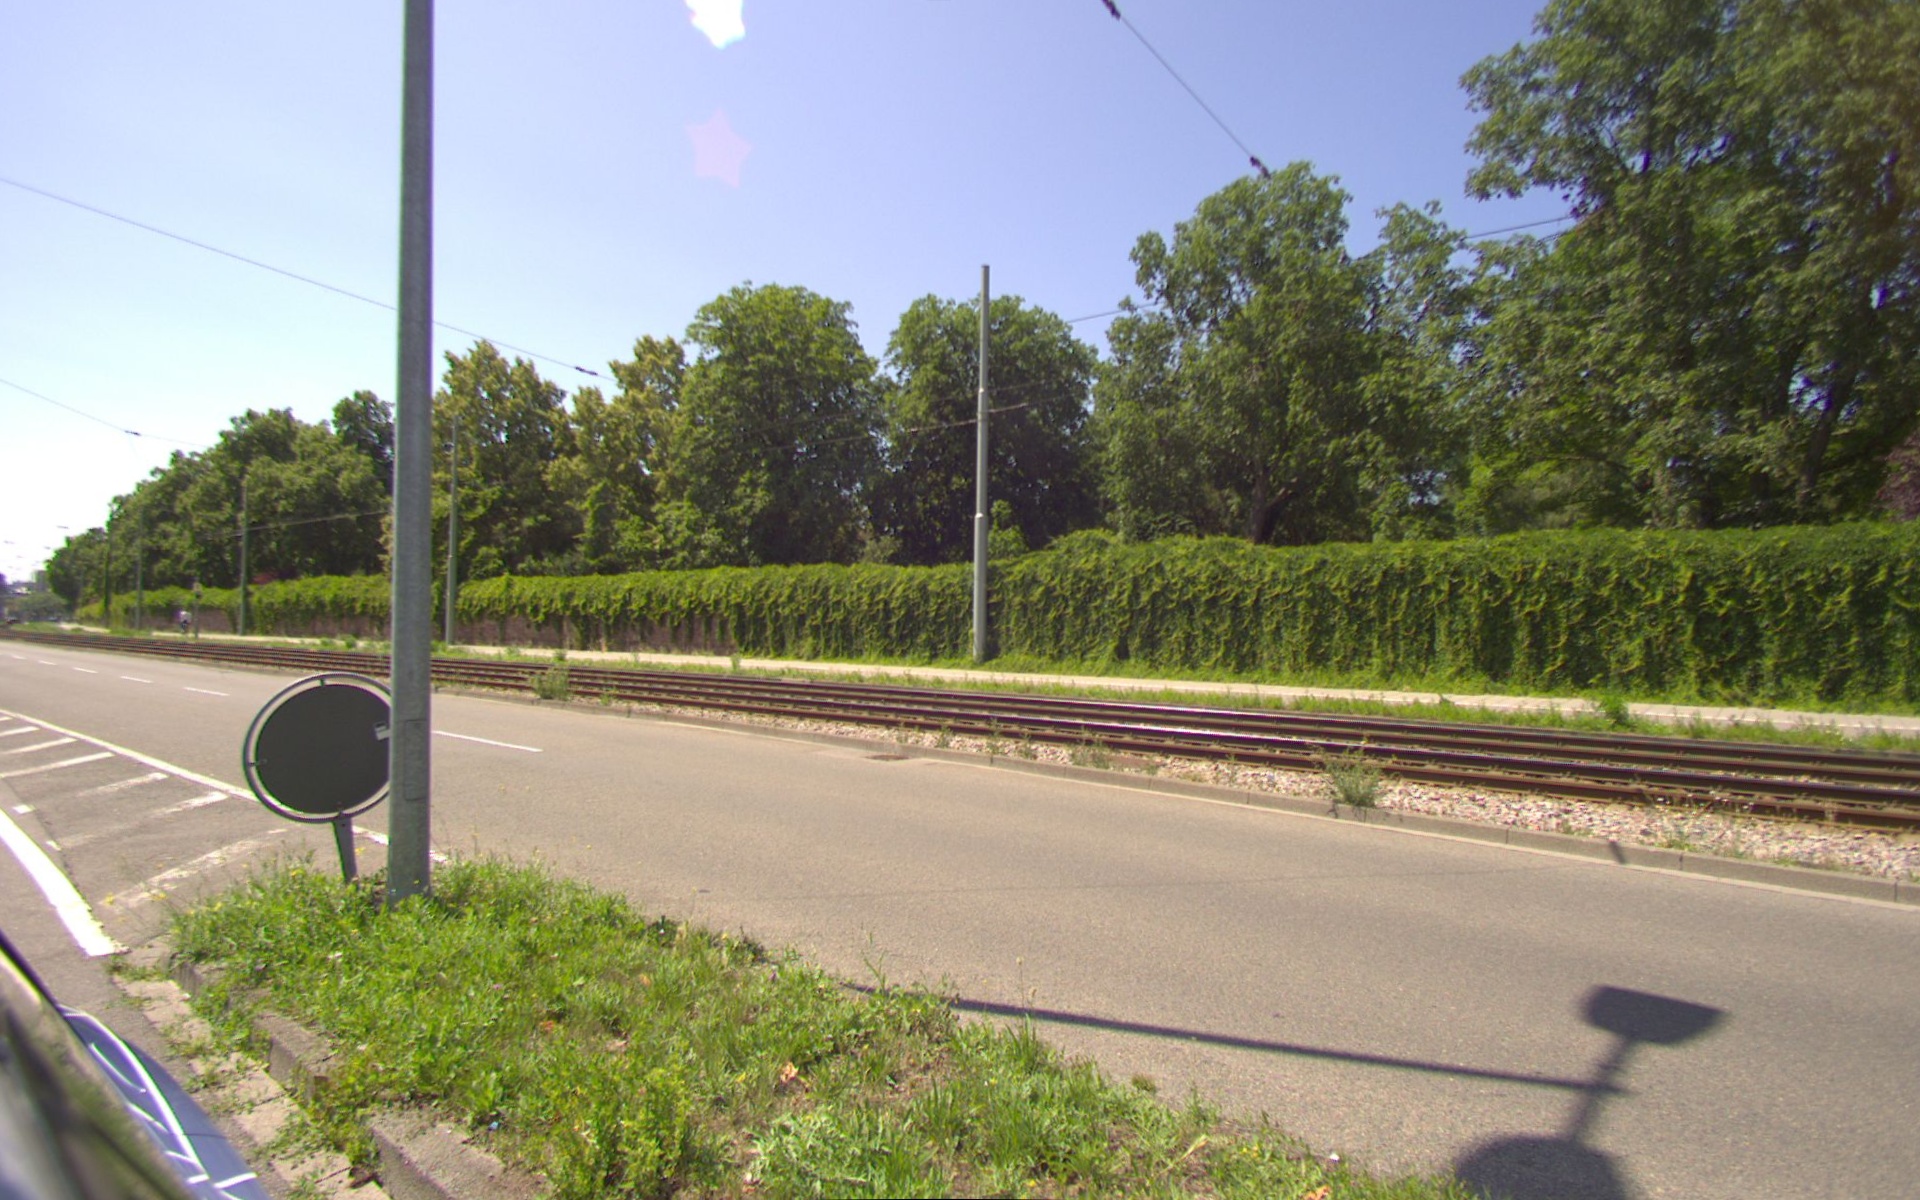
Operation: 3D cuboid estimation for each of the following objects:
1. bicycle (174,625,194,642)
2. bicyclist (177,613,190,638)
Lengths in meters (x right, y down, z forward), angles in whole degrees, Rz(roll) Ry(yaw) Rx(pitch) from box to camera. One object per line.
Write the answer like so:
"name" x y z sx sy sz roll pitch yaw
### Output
"bicycle" -50.558 2.173 65.932 1.976 1.063 0.610 -1 0 40
"bicyclist" -50.586 1.644 65.911 0.768 1.624 0.477 -1 0 39
